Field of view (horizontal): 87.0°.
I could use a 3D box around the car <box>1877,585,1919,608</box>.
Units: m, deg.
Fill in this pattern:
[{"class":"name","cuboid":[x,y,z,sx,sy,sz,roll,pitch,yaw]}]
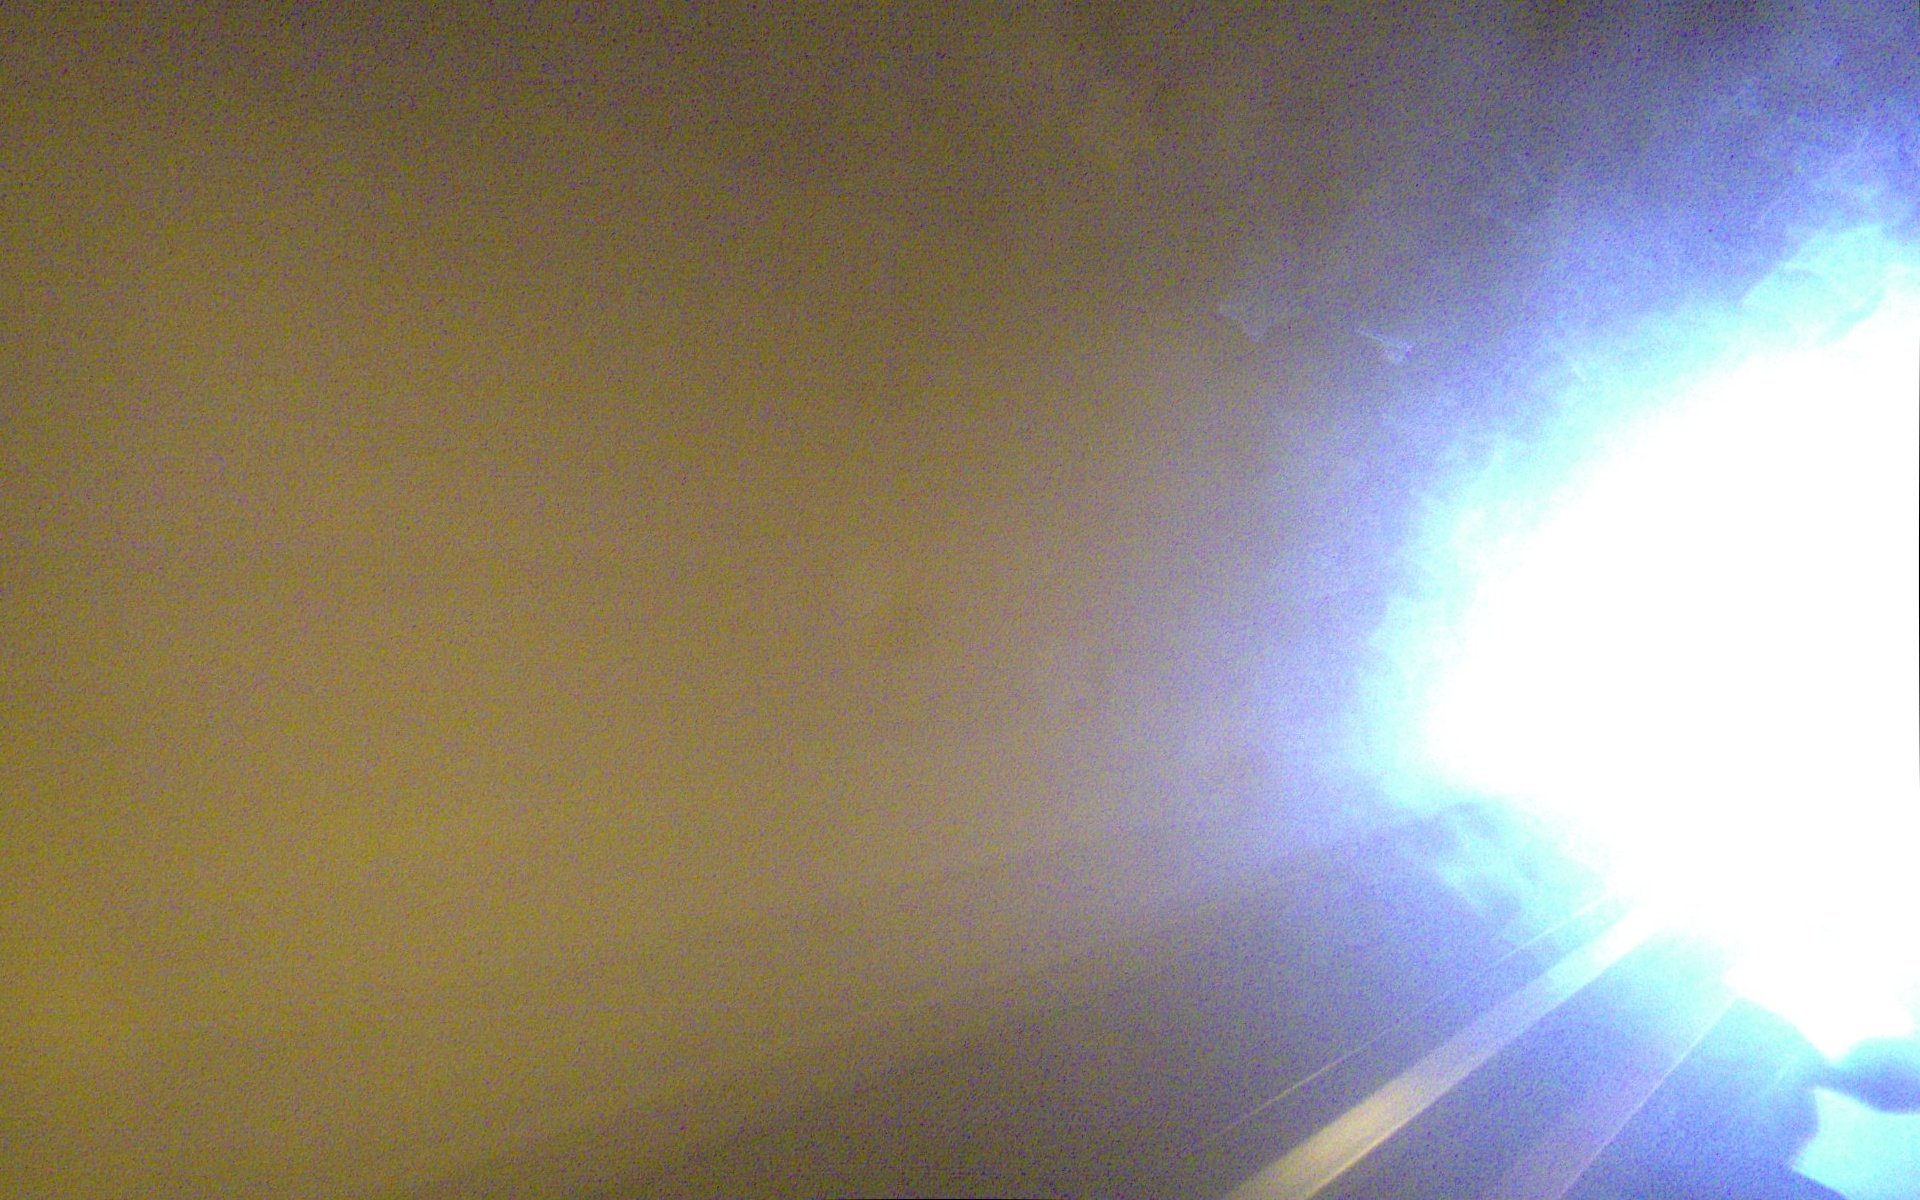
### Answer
[{"class":"car","cuboid":[74.850,-0.314,80.726,1.695,1.794,3.957,1,1,30]}]
